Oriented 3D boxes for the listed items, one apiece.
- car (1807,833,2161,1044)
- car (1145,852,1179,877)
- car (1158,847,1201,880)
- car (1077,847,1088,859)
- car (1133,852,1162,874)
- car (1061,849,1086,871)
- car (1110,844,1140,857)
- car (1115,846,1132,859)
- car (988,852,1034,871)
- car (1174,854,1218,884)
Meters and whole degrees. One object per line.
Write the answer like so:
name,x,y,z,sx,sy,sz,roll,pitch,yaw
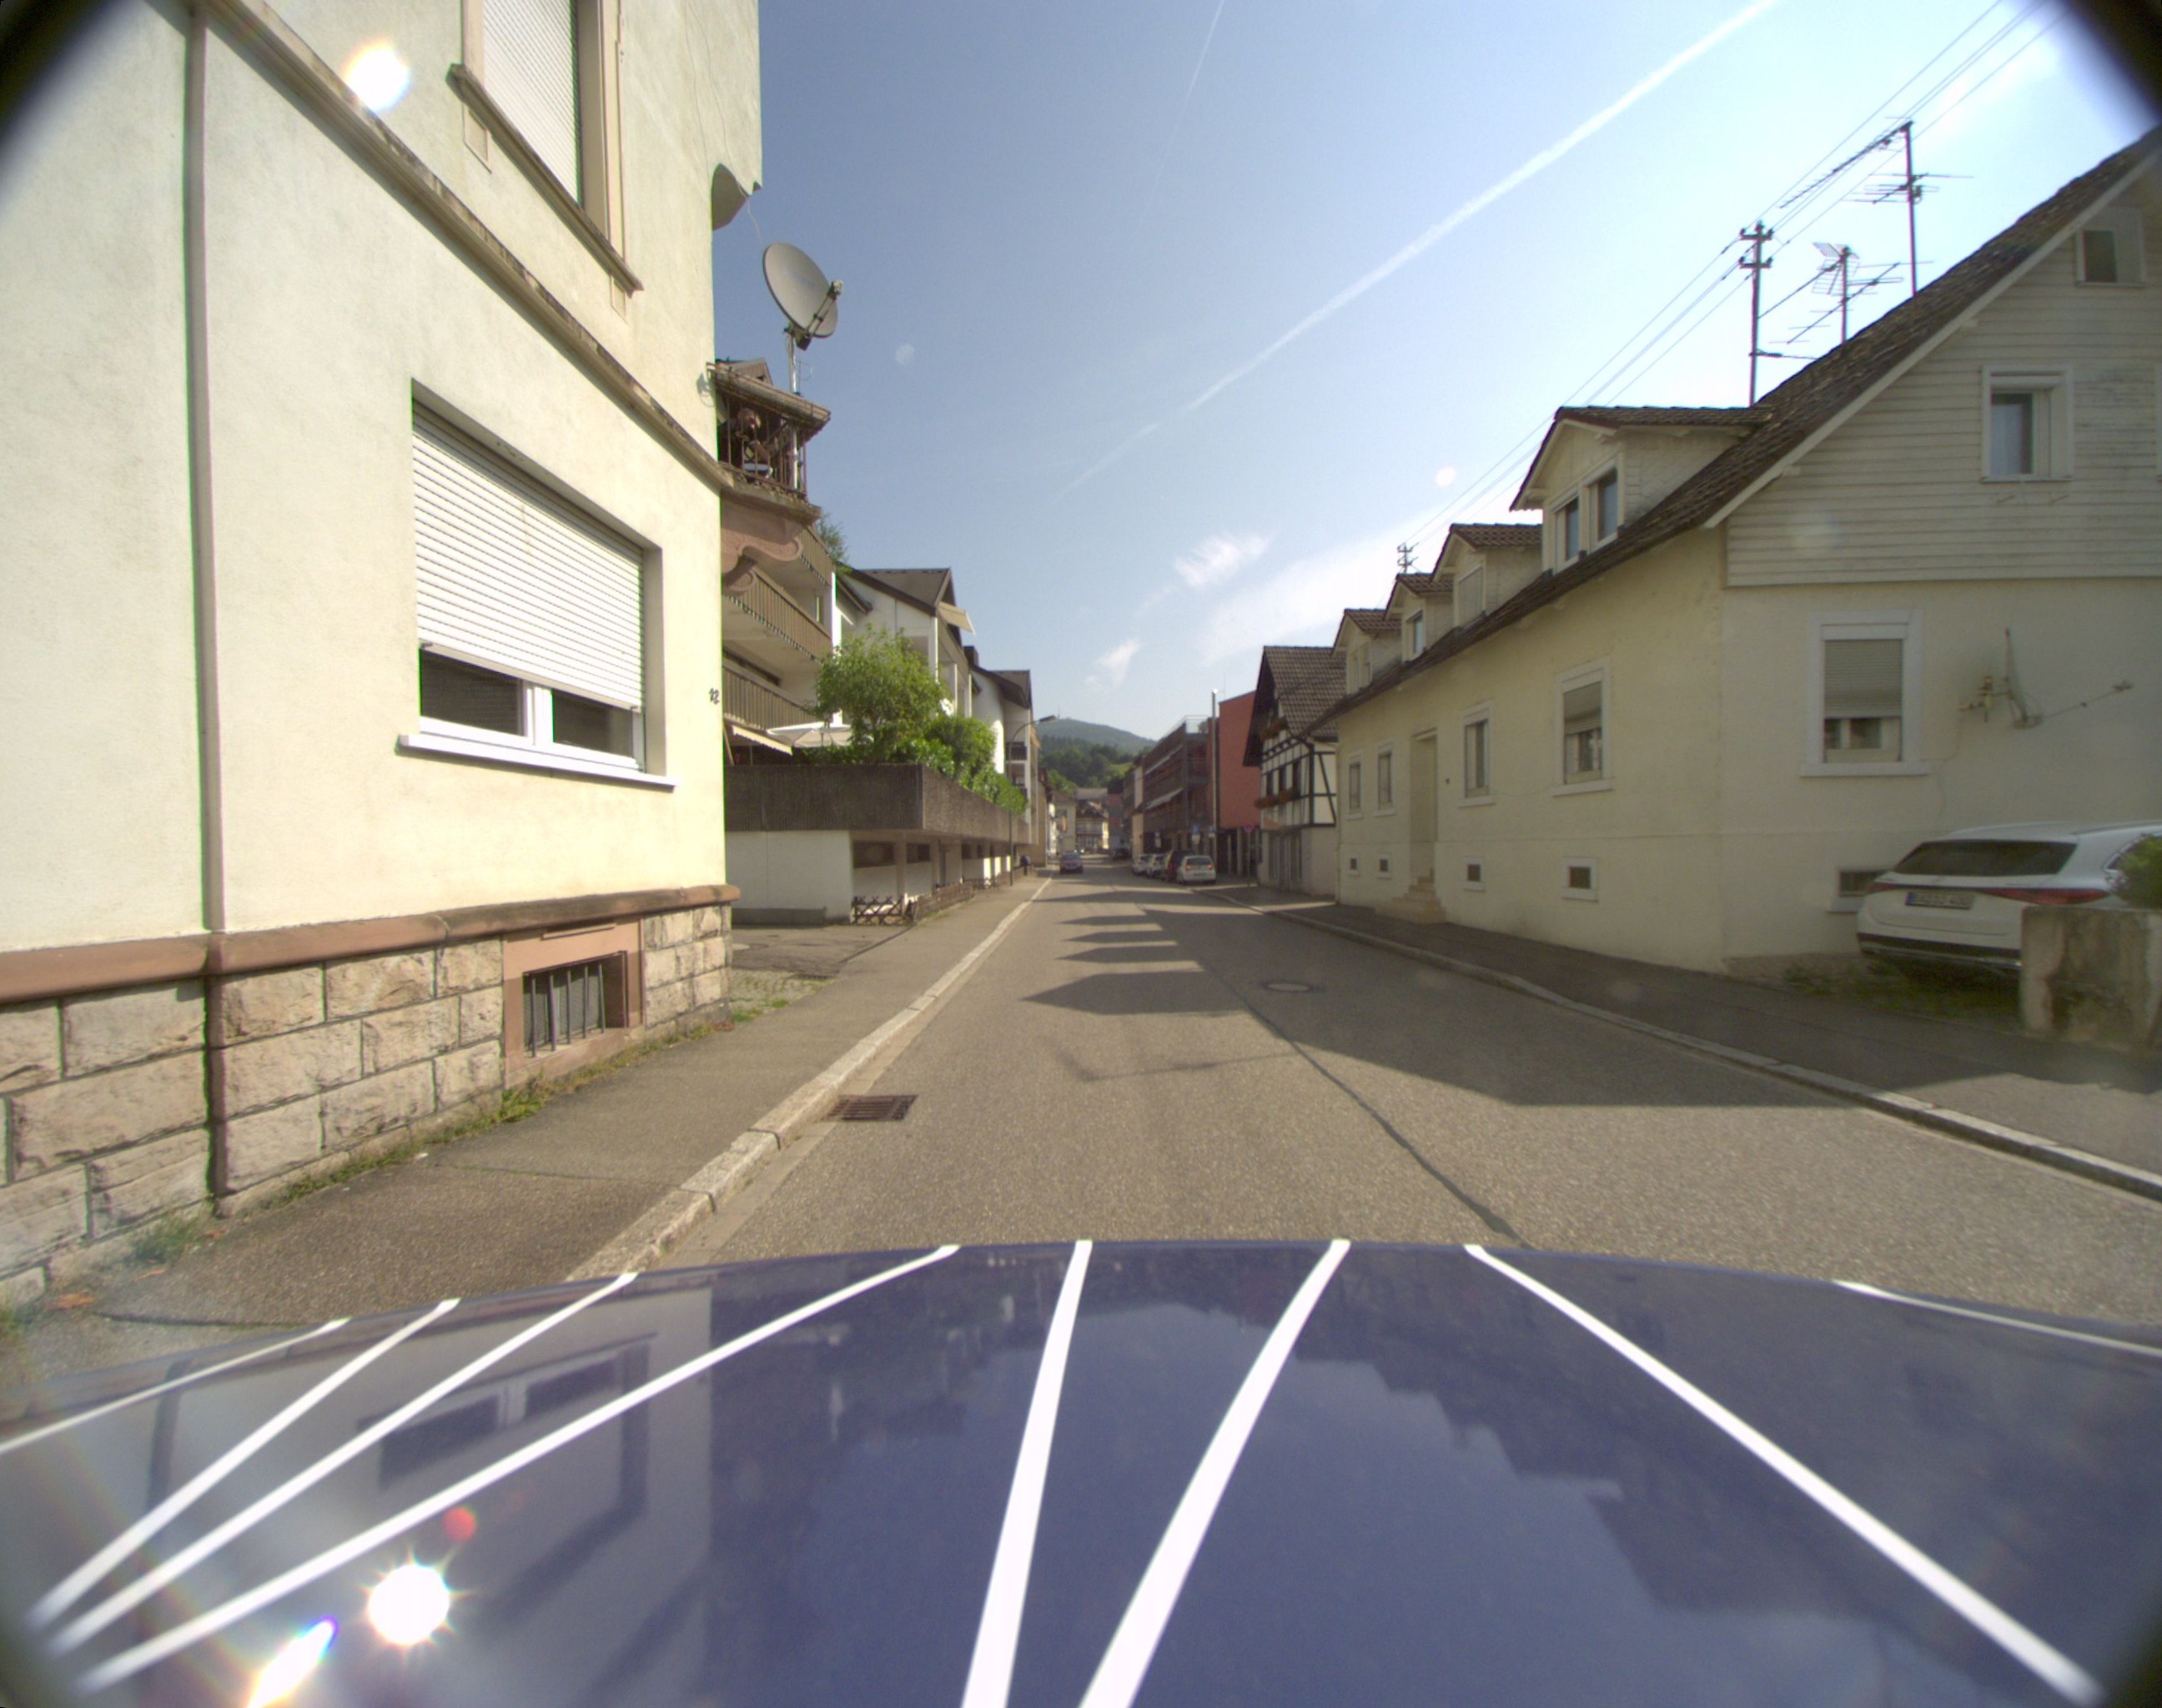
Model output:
car,9.580,0.637,7.021,3.998,1.584,1.907,-2,1,-3
car,5.248,0.660,49.760,1.679,1.580,3.948,-1,0,-2
car,5.647,0.507,43.984,1.725,1.786,4.267,-1,0,-3
car,0.190,-0.211,145.789,1.999,2.002,3.999,-2,1,0
car,4.927,0.615,56.450,1.678,1.546,3.763,-2,0,-2
car,-0.606,0.467,59.302,1.822,1.652,3.999,0,1,-2
car,6.193,-0.457,106.993,4.000,1.674,1.833,-1,-1,-9
car,5.457,-0.222,98.089,1.787,1.566,3.887,-4,1,-1
car,-6.096,0.634,66.209,3.838,1.470,1.700,-2,0,-3
car,5.849,0.730,38.843,1.670,1.423,3.568,-2,0,0
